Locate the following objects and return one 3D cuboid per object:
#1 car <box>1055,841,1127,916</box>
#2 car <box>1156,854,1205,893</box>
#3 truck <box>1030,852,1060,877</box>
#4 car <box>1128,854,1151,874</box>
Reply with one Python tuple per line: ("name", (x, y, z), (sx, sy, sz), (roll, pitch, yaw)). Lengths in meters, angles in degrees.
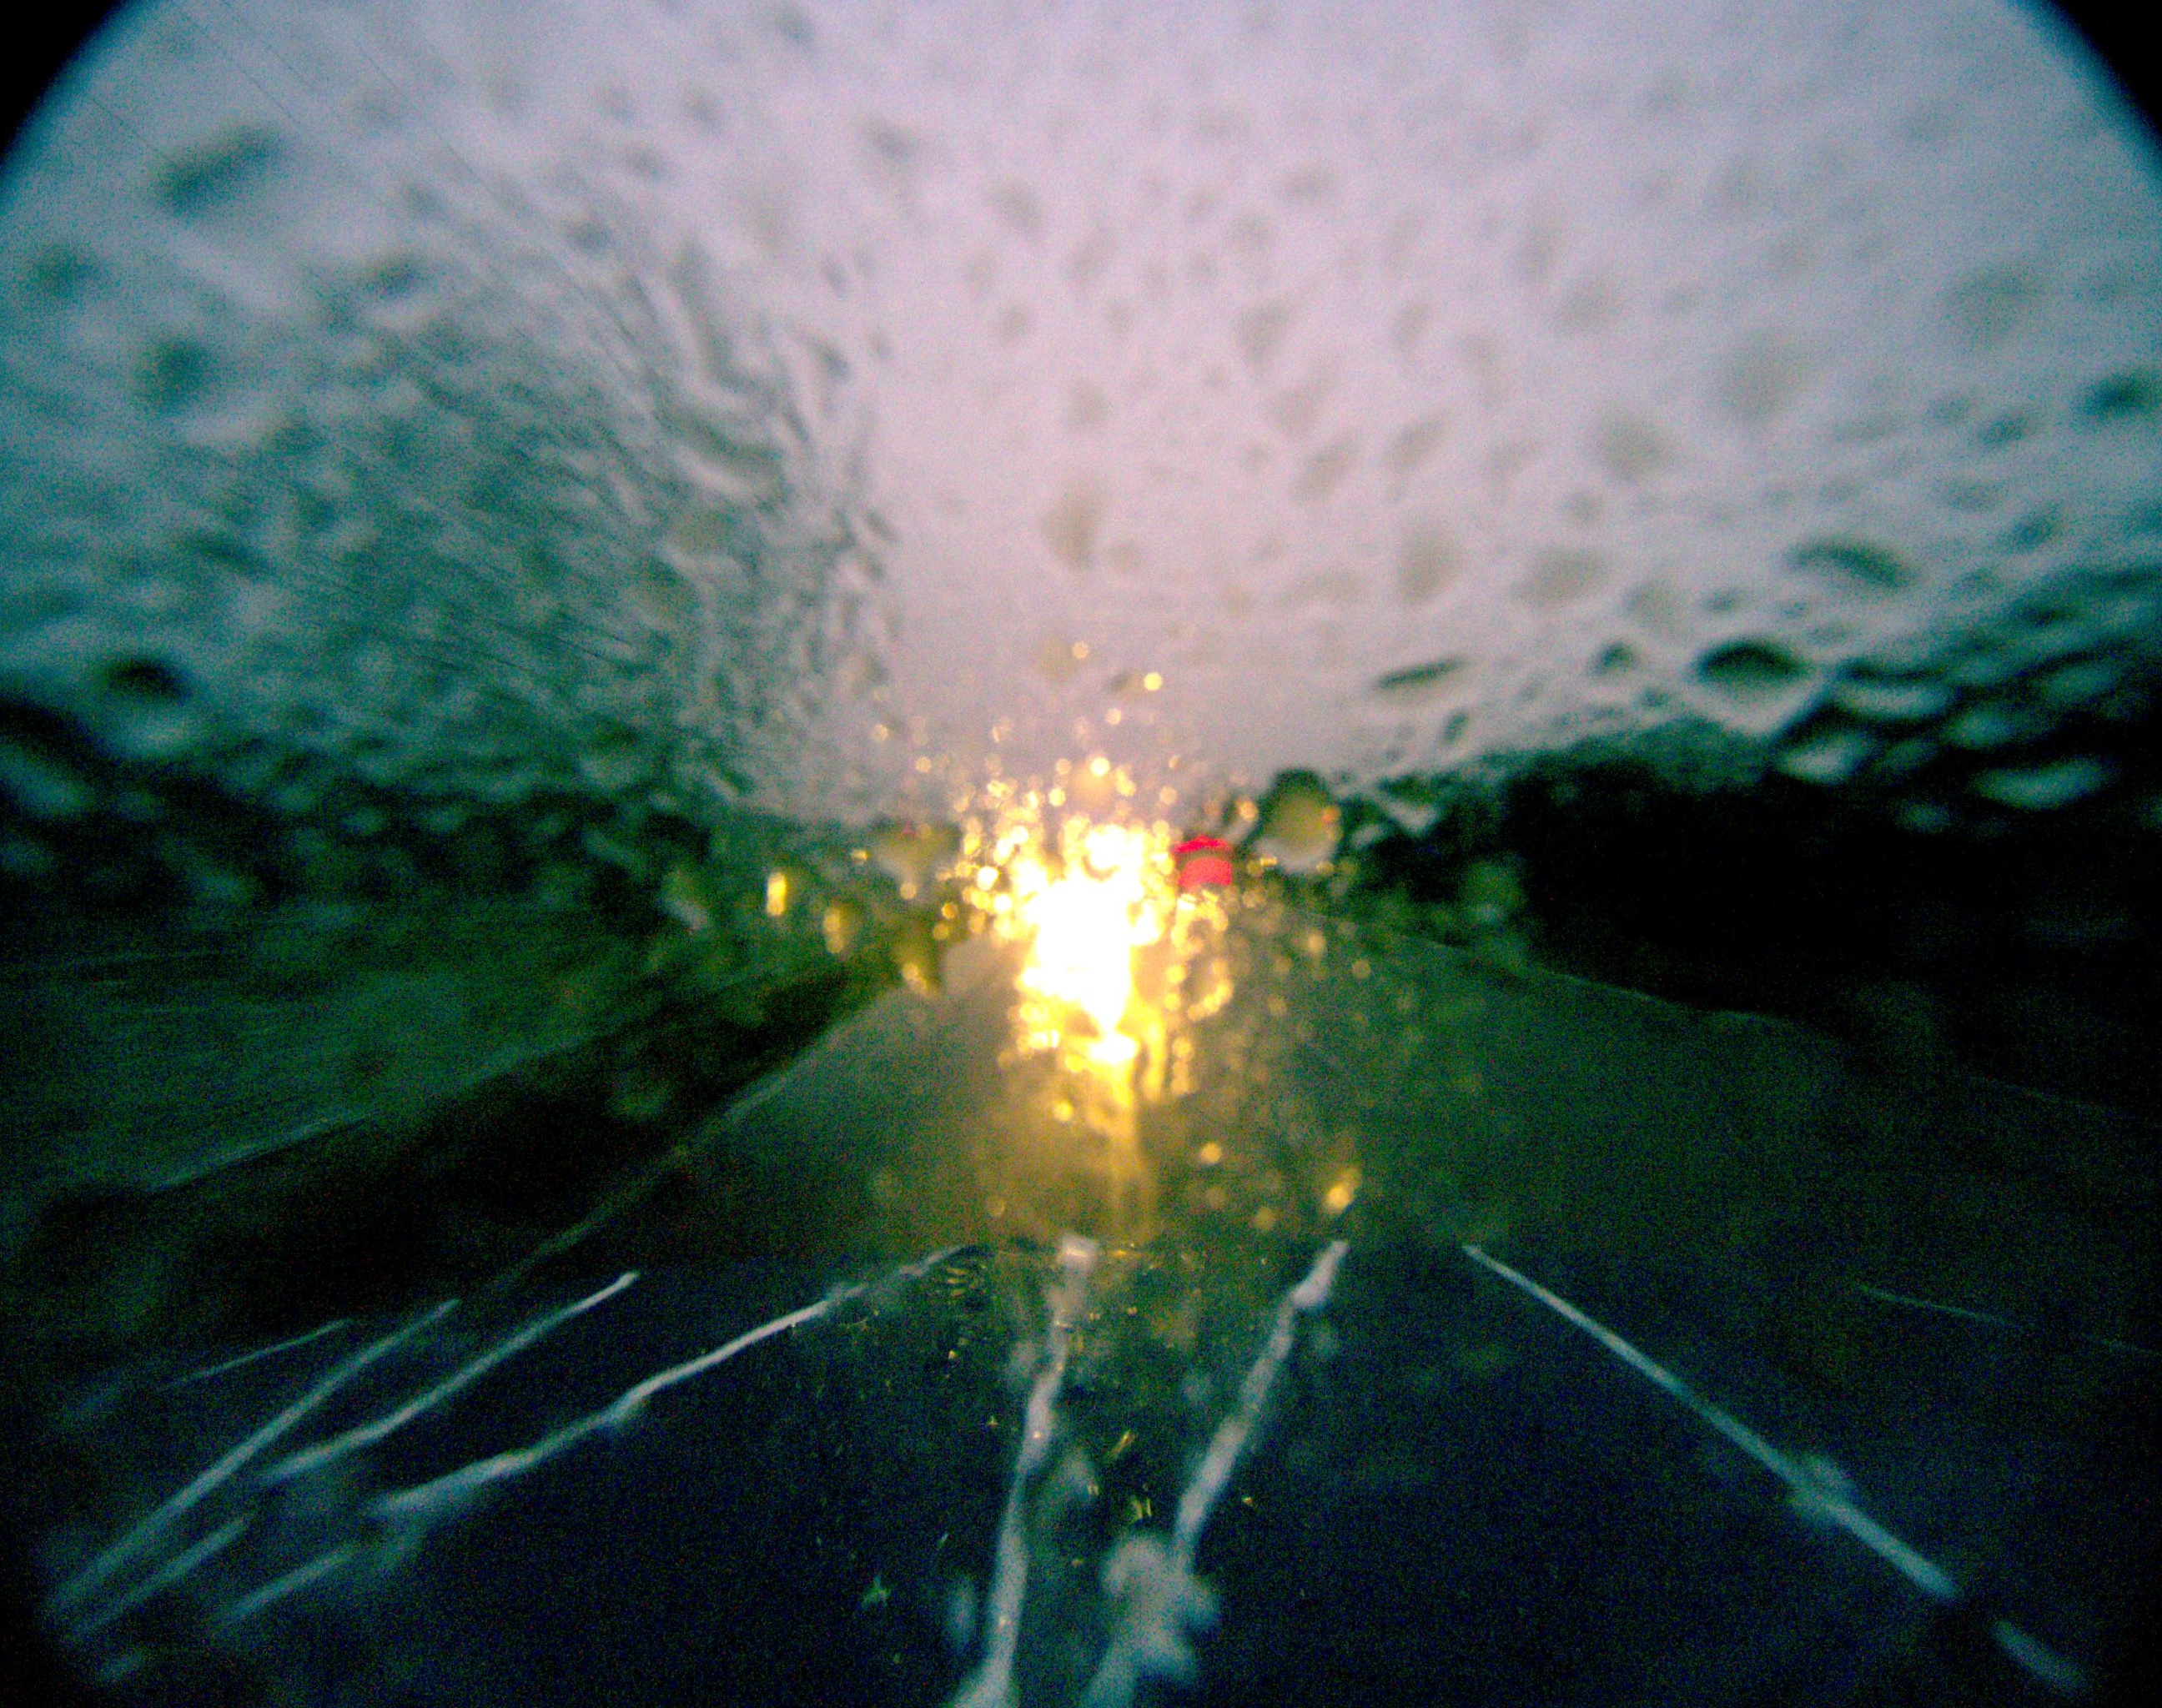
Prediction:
("car", (0.393, 0.667, 22.770), (1.856, 2.002, 4.001), (-2, 0, 4))
("car", (4.183, 0.792, 32.421), (1.659, 1.477, 3.669), (-2, 0, 1))
("truck", (-3.968, 1.121, 86.220), (2.510, 2.556, 10.806), (-2, 0, 2))
("car", (5.266, 0.859, 68.852), (1.867, 1.690, 4.468), (-2, 0, 2))
